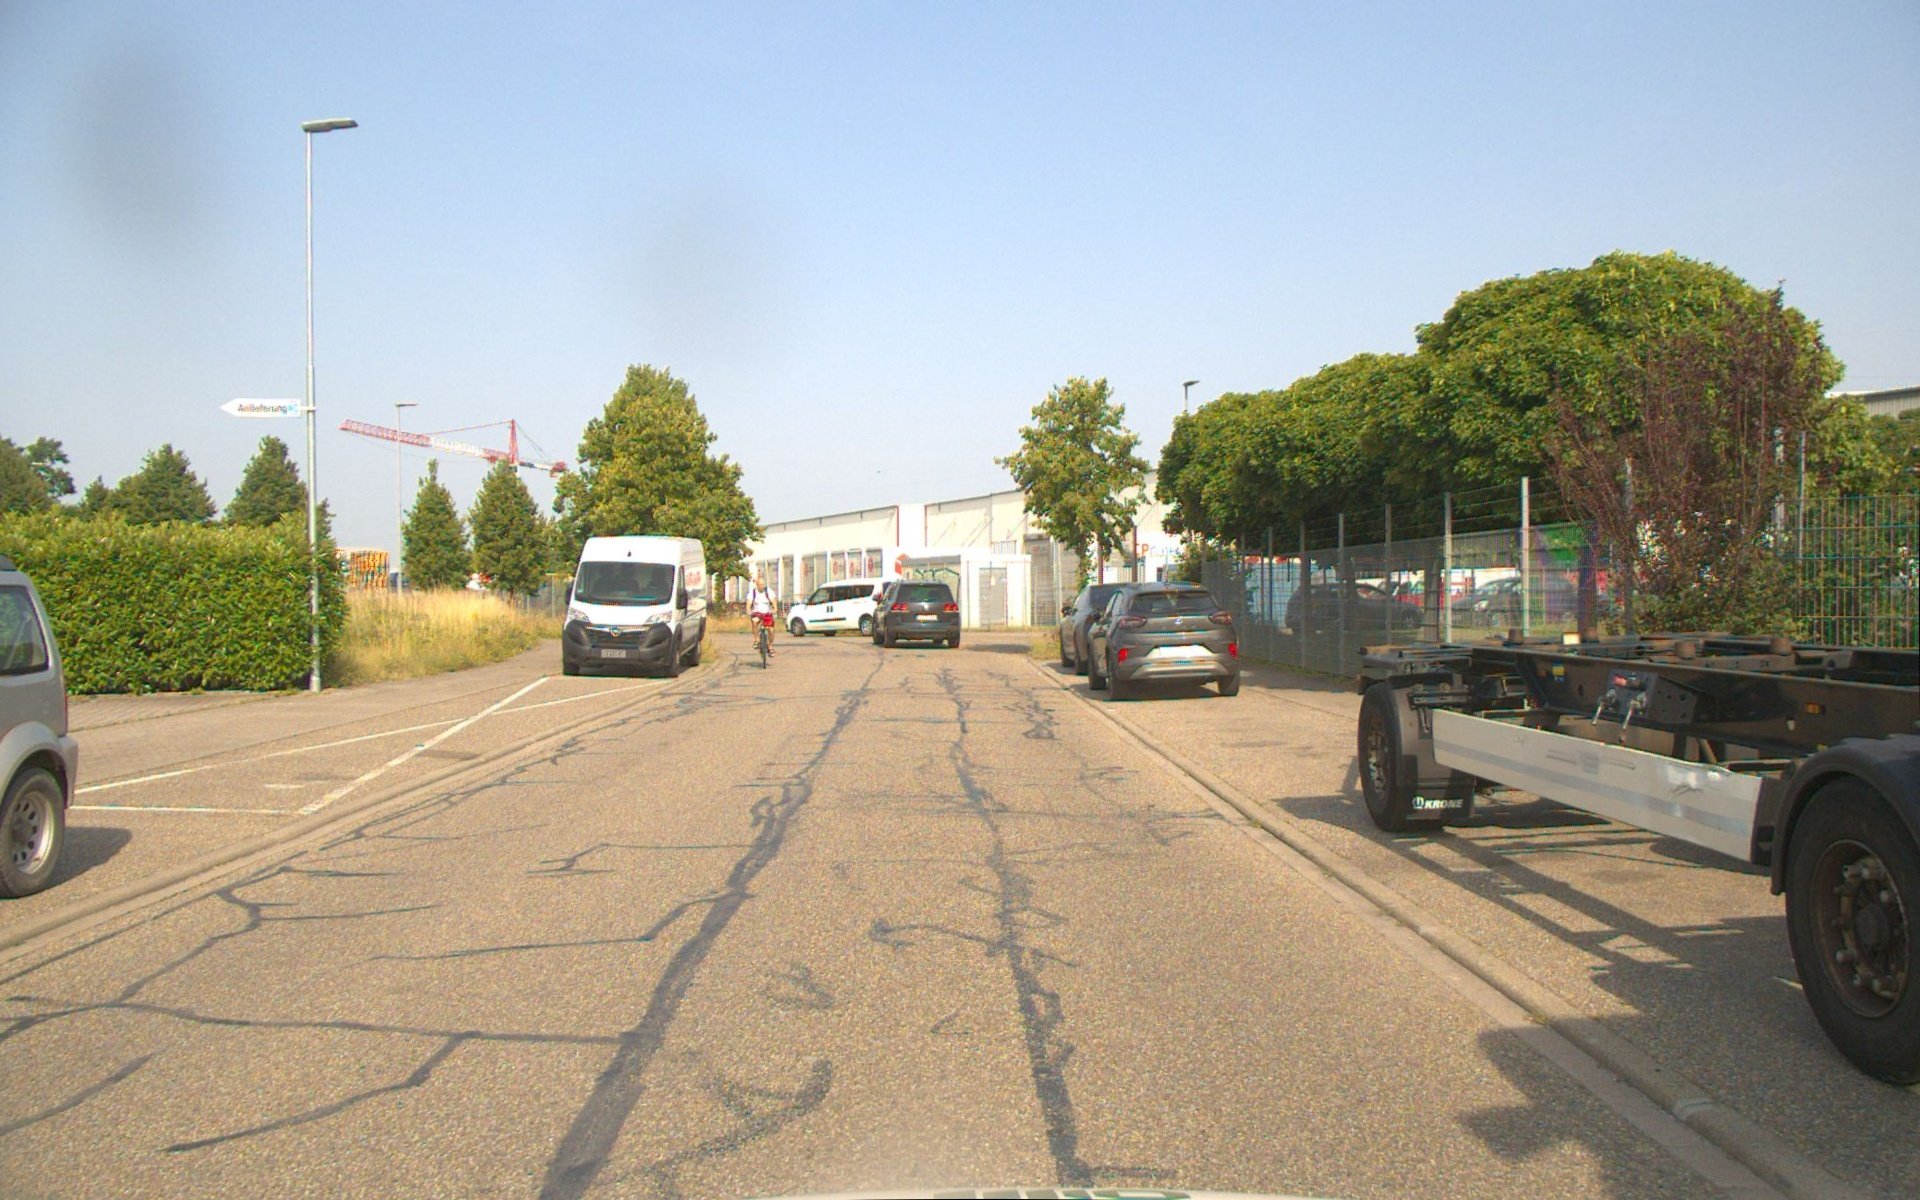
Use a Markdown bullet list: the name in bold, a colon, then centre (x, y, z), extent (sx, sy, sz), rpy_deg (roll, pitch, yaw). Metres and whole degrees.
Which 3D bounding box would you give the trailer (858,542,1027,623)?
- **trailer**: centre (-0.901, -0.870, 86.613), extent (8.427, 3.962, 2.754), rpy_deg (2, 0, -25)

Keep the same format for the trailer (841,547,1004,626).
- **trailer**: centre (-2.009, -0.679, 89.509), extent (8.427, 3.962, 2.754), rpy_deg (2, 0, -25)

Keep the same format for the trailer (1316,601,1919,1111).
- **trailer**: centre (3.502, 0.710, 7.694), extent (1.899, 1.257, 7.449), rpy_deg (-3, 1, -1)

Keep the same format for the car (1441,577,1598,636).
- **car**: centre (16.411, 0.152, 48.534), extent (4.197, 1.654, 1.865), rpy_deg (0, 1, -23)

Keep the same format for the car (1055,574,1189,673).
- **car**: centre (2.868, 0.404, 30.363), extent (1.842, 1.601, 5.117), rpy_deg (-2, 0, -1)

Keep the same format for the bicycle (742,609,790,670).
- **bicycle**: centre (-3.921, 0.781, 33.542), extent (0.701, 1.141, 2.219), rpy_deg (-3, 0, -1)

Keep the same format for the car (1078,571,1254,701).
- **car**: centre (2.794, 0.470, 23.341), extent (1.842, 1.601, 4.112), rpy_deg (-2, 0, -1)

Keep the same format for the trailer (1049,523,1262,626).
- **trailer**: centre (8.035, -1.007, 67.813), extent (8.419, 3.962, 2.756), rpy_deg (0, -2, -23)

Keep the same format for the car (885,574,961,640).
- **car**: centre (-0.958, 0.179, 42.718), extent (1.842, 1.614, 4.112), rpy_deg (-1, 0, -1)

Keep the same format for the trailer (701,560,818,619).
- **trailer**: centre (-14.421, -0.719, 119.095), extent (7.861, 3.962, 2.754), rpy_deg (2, 0, -25)

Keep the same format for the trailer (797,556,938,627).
- **trailer**: centre (-5.484, -0.497, 98.918), extent (7.931, 3.962, 2.754), rpy_deg (2, 0, -25)

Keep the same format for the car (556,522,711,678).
- **car**: centre (-6.147, -0.025, 31.904), extent (2.061, 2.640, 6.498), rpy_deg (2, 0, -4)

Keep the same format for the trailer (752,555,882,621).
- **trailer**: centre (-9.251, -0.745, 107.058), extent (7.861, 3.962, 2.754), rpy_deg (2, 0, -25)

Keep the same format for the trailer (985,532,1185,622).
- **trailer**: centre (5.567, -0.957, 73.239), extent (8.620, 3.827, 2.769), rpy_deg (0, -1, -25)

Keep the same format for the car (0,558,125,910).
- **car**: centre (-5.356, 0.630, 7.230), extent (1.565, 1.679, 3.643), rpy_deg (2, 1, -1)

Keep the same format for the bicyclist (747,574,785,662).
- **bicyclist**: centre (-3.932, 0.356, 33.545), extent (0.626, 1.749, 1.165), rpy_deg (-1, 0, -1)

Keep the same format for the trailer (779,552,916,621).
- **trailer**: centre (-6.892, -0.784, 101.524), extent (7.861, 3.962, 2.754), rpy_deg (2, 0, -25)

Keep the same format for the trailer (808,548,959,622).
- **trailer**: centre (-4.387, -0.822, 95.089), extent (8.202, 3.962, 2.754), rpy_deg (2, 0, -25)

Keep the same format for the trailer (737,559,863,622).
- **trailer**: centre (-10.606, -0.606, 109.898), extent (7.861, 3.962, 2.754), rpy_deg (2, 0, -25)

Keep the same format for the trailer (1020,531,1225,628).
- **trailer**: centre (6.978, -0.906, 70.605), extent (8.423, 3.961, 2.755), rpy_deg (-1, 0, -24)

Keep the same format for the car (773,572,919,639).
- **car**: centre (-3.795, 0.200, 54.735), extent (4.530, 2.147, 2.121), rpy_deg (-1, 0, 35)

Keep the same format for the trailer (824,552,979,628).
- **trailer**: centre (-3.245, -0.526, 92.268), extent (8.202, 3.962, 2.754), rpy_deg (2, 0, -25)

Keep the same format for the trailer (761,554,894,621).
- **trailer**: centre (-8.349, -0.762, 104.147), extent (7.861, 3.962, 2.754), rpy_deg (2, 0, -25)
